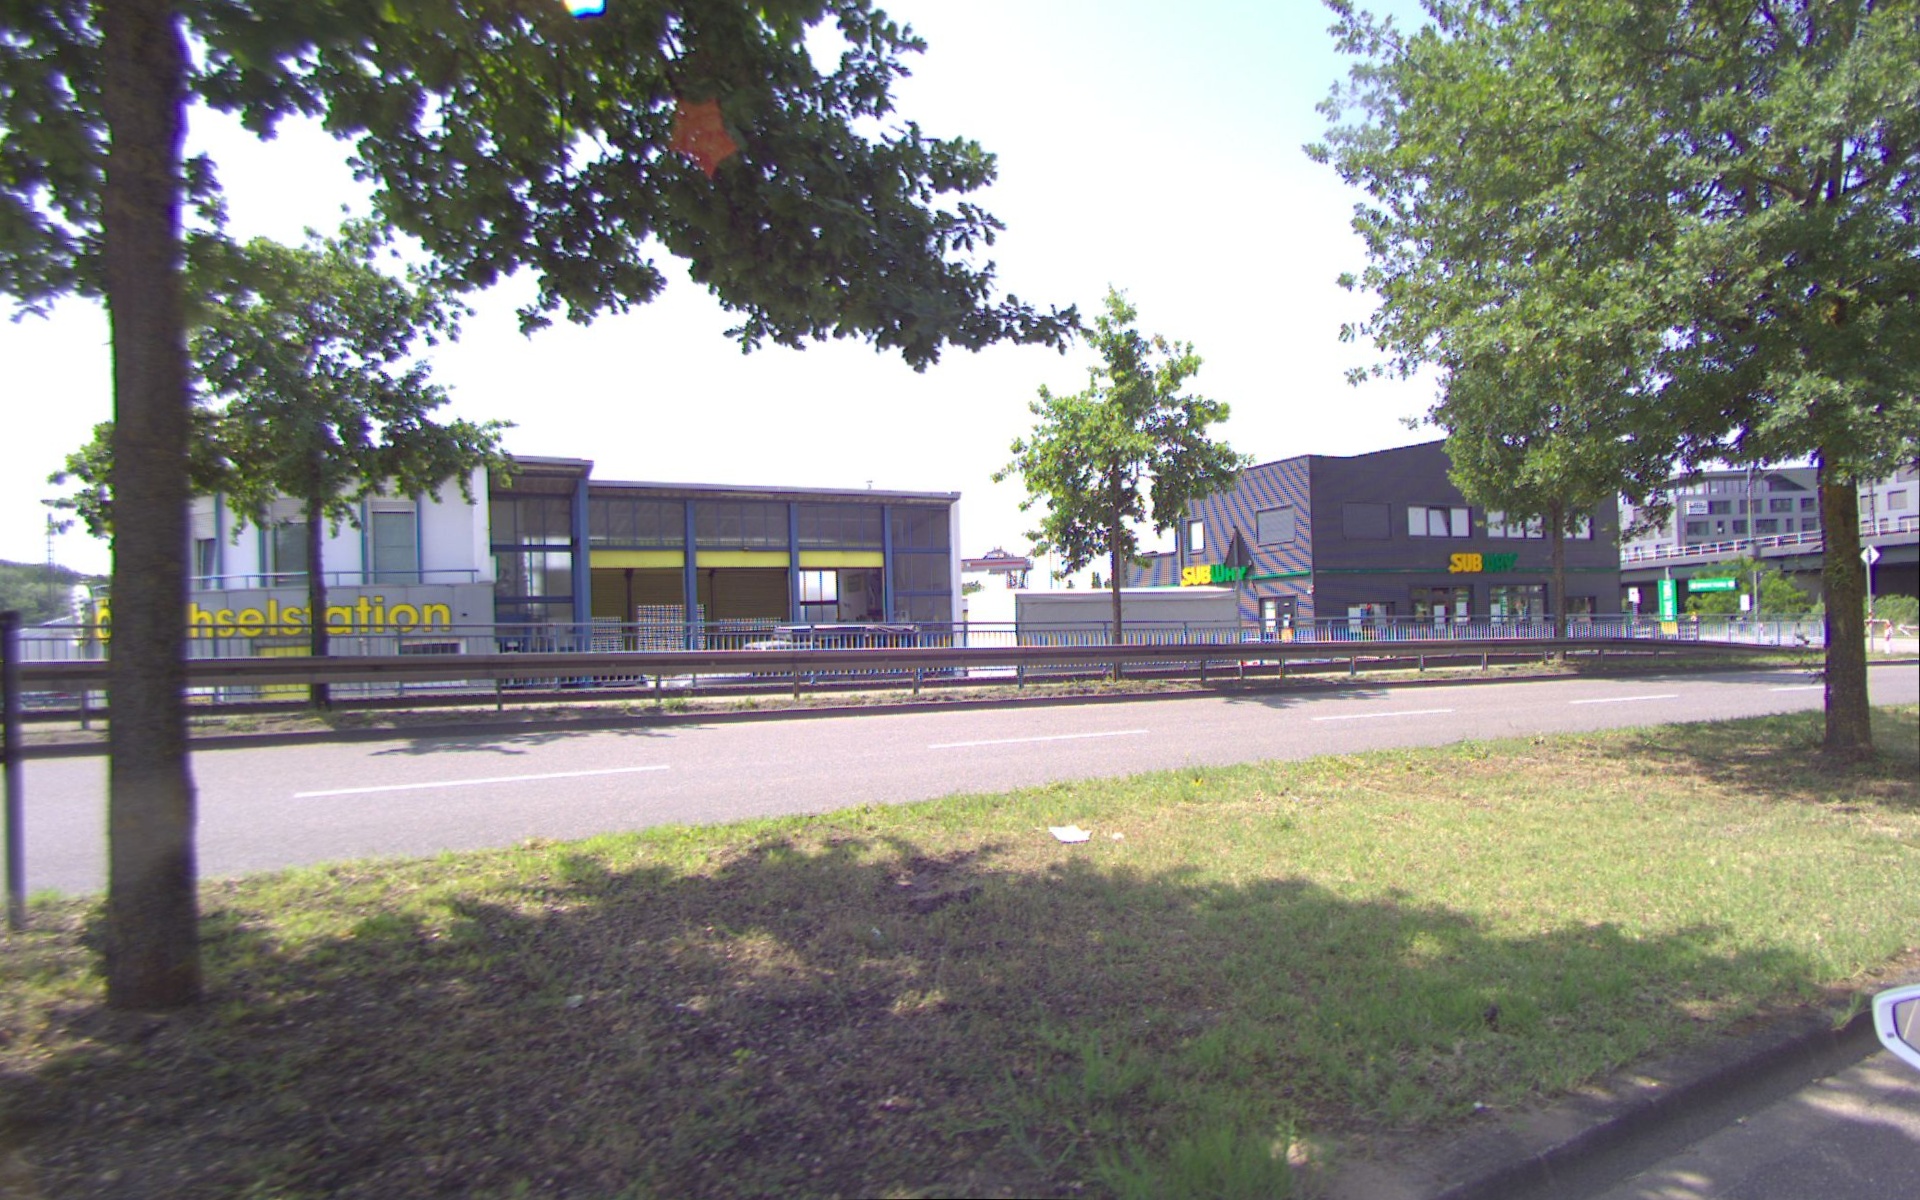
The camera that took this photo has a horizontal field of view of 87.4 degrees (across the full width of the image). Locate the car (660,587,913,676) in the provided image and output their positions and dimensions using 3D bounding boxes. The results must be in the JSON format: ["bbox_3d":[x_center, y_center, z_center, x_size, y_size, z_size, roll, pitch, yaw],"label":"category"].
[{"bbox_3d":[-3.395,0.651,19.802,4.580,1.589,1.891,1,-4,-27],"label":"car"}]
